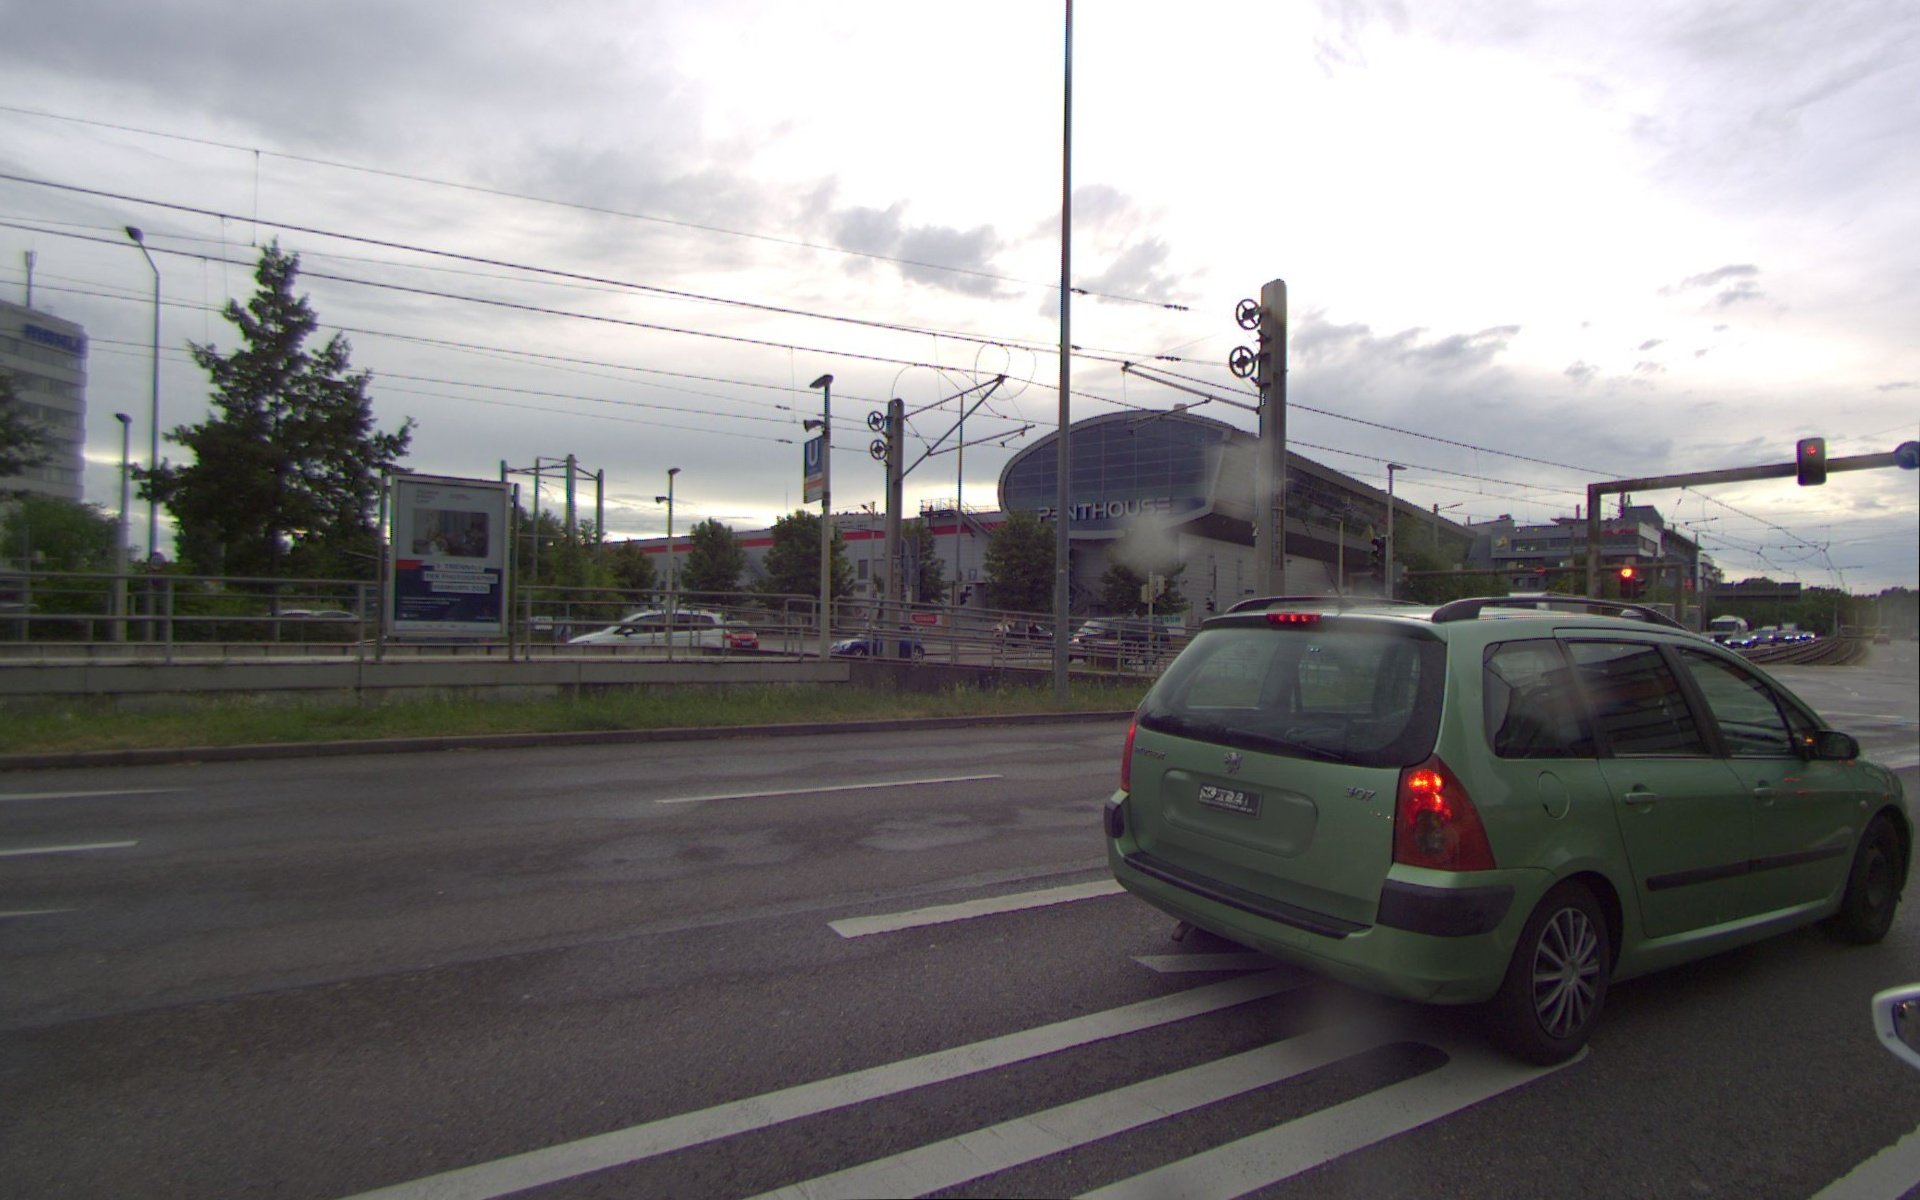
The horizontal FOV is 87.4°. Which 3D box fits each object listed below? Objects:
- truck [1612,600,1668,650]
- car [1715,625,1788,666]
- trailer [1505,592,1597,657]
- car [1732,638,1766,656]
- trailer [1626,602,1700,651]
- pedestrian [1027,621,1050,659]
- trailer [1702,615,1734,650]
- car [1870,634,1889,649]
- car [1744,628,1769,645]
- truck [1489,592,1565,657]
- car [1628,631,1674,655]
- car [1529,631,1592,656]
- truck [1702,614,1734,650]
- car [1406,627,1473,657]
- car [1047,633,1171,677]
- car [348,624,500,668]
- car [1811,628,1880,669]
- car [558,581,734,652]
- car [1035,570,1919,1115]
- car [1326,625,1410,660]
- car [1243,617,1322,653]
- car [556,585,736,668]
[{"bbox_3d":[59.679,2.274,88.105,6.137,4.184,2.643,3,-2,-41],"label":"truck"},{"bbox_3d":[42.408,2.402,53.791,4.302,2.040,1.762,1,1,-34],"label":"car"},{"bbox_3d":[40.681,1.709,68.946,2.766,4.161,11.370,-1,-2,45],"label":"trailer"},{"bbox_3d":[77.506,4.611,98.622,4.533,1.576,1.885,2,0,-43],"label":"car"},{"bbox_3d":[64.989,2.538,92.732,12.646,4.178,2.627,3,-3,-41],"label":"trailer"},{"bbox_3d":[3.615,1.843,46.226,0.731,1.728,0.721,3,0,-34],"label":"pedestrian"},{"bbox_3d":[88.160,3.854,116.689,2.691,3.905,11.183,-1,-3,38],"label":"trailer"},{"bbox_3d":[129.506,5.881,141.435,1.754,2.040,4.321,3,0,44],"label":"car"},{"bbox_3d":[89.607,4.102,112.951,1.971,1.862,4.884,-1,-1,41],"label":"car"},{"bbox_3d":[36.675,1.595,64.926,5.948,4.049,2.803,2,-2,-45],"label":"truck"},{"bbox_3d":[52.090,3.225,75.677,4.065,1.674,1.870,3,0,-42],"label":"car"},{"bbox_3d":[34.599,2.531,57.850,4.381,1.281,1.891,3,0,-42],"label":"car"},{"bbox_3d":[84.541,3.595,112.085,2.711,3.855,5.391,-2,-3,37],"label":"truck"},{"bbox_3d":[25.644,2.249,53.704,4.121,1.481,1.723,3,0,-41],"label":"car"},{"bbox_3d":[5.820,2.156,39.034,4.880,1.517,1.667,3,0,-33],"label":"car"},{"bbox_3d":[-15.956,1.369,29.972,3.892,1.146,1.518,3,0,-32],"label":"car"},{"bbox_3d":[47.971,2.591,54.401,4.302,2.040,1.762,1,1,-34],"label":"car"},{"bbox_3d":[-8.397,0.457,26.989,4.221,1.688,1.520,3,0,-31],"label":"car"},{"bbox_3d":[2.623,0.729,4.607,4.354,1.488,1.685,3,0,-32],"label":"car"},{"bbox_3d":[19.861,2.061,48.875,3.957,1.522,1.777,3,0,-33],"label":"car"},{"bbox_3d":[16.317,1.793,50.817,4.038,1.648,1.562,3,0,-33],"label":"car"},{"bbox_3d":[-8.462,0.727,27.199,4.301,2.040,1.762,3,0,-33],"label":"car"}]
